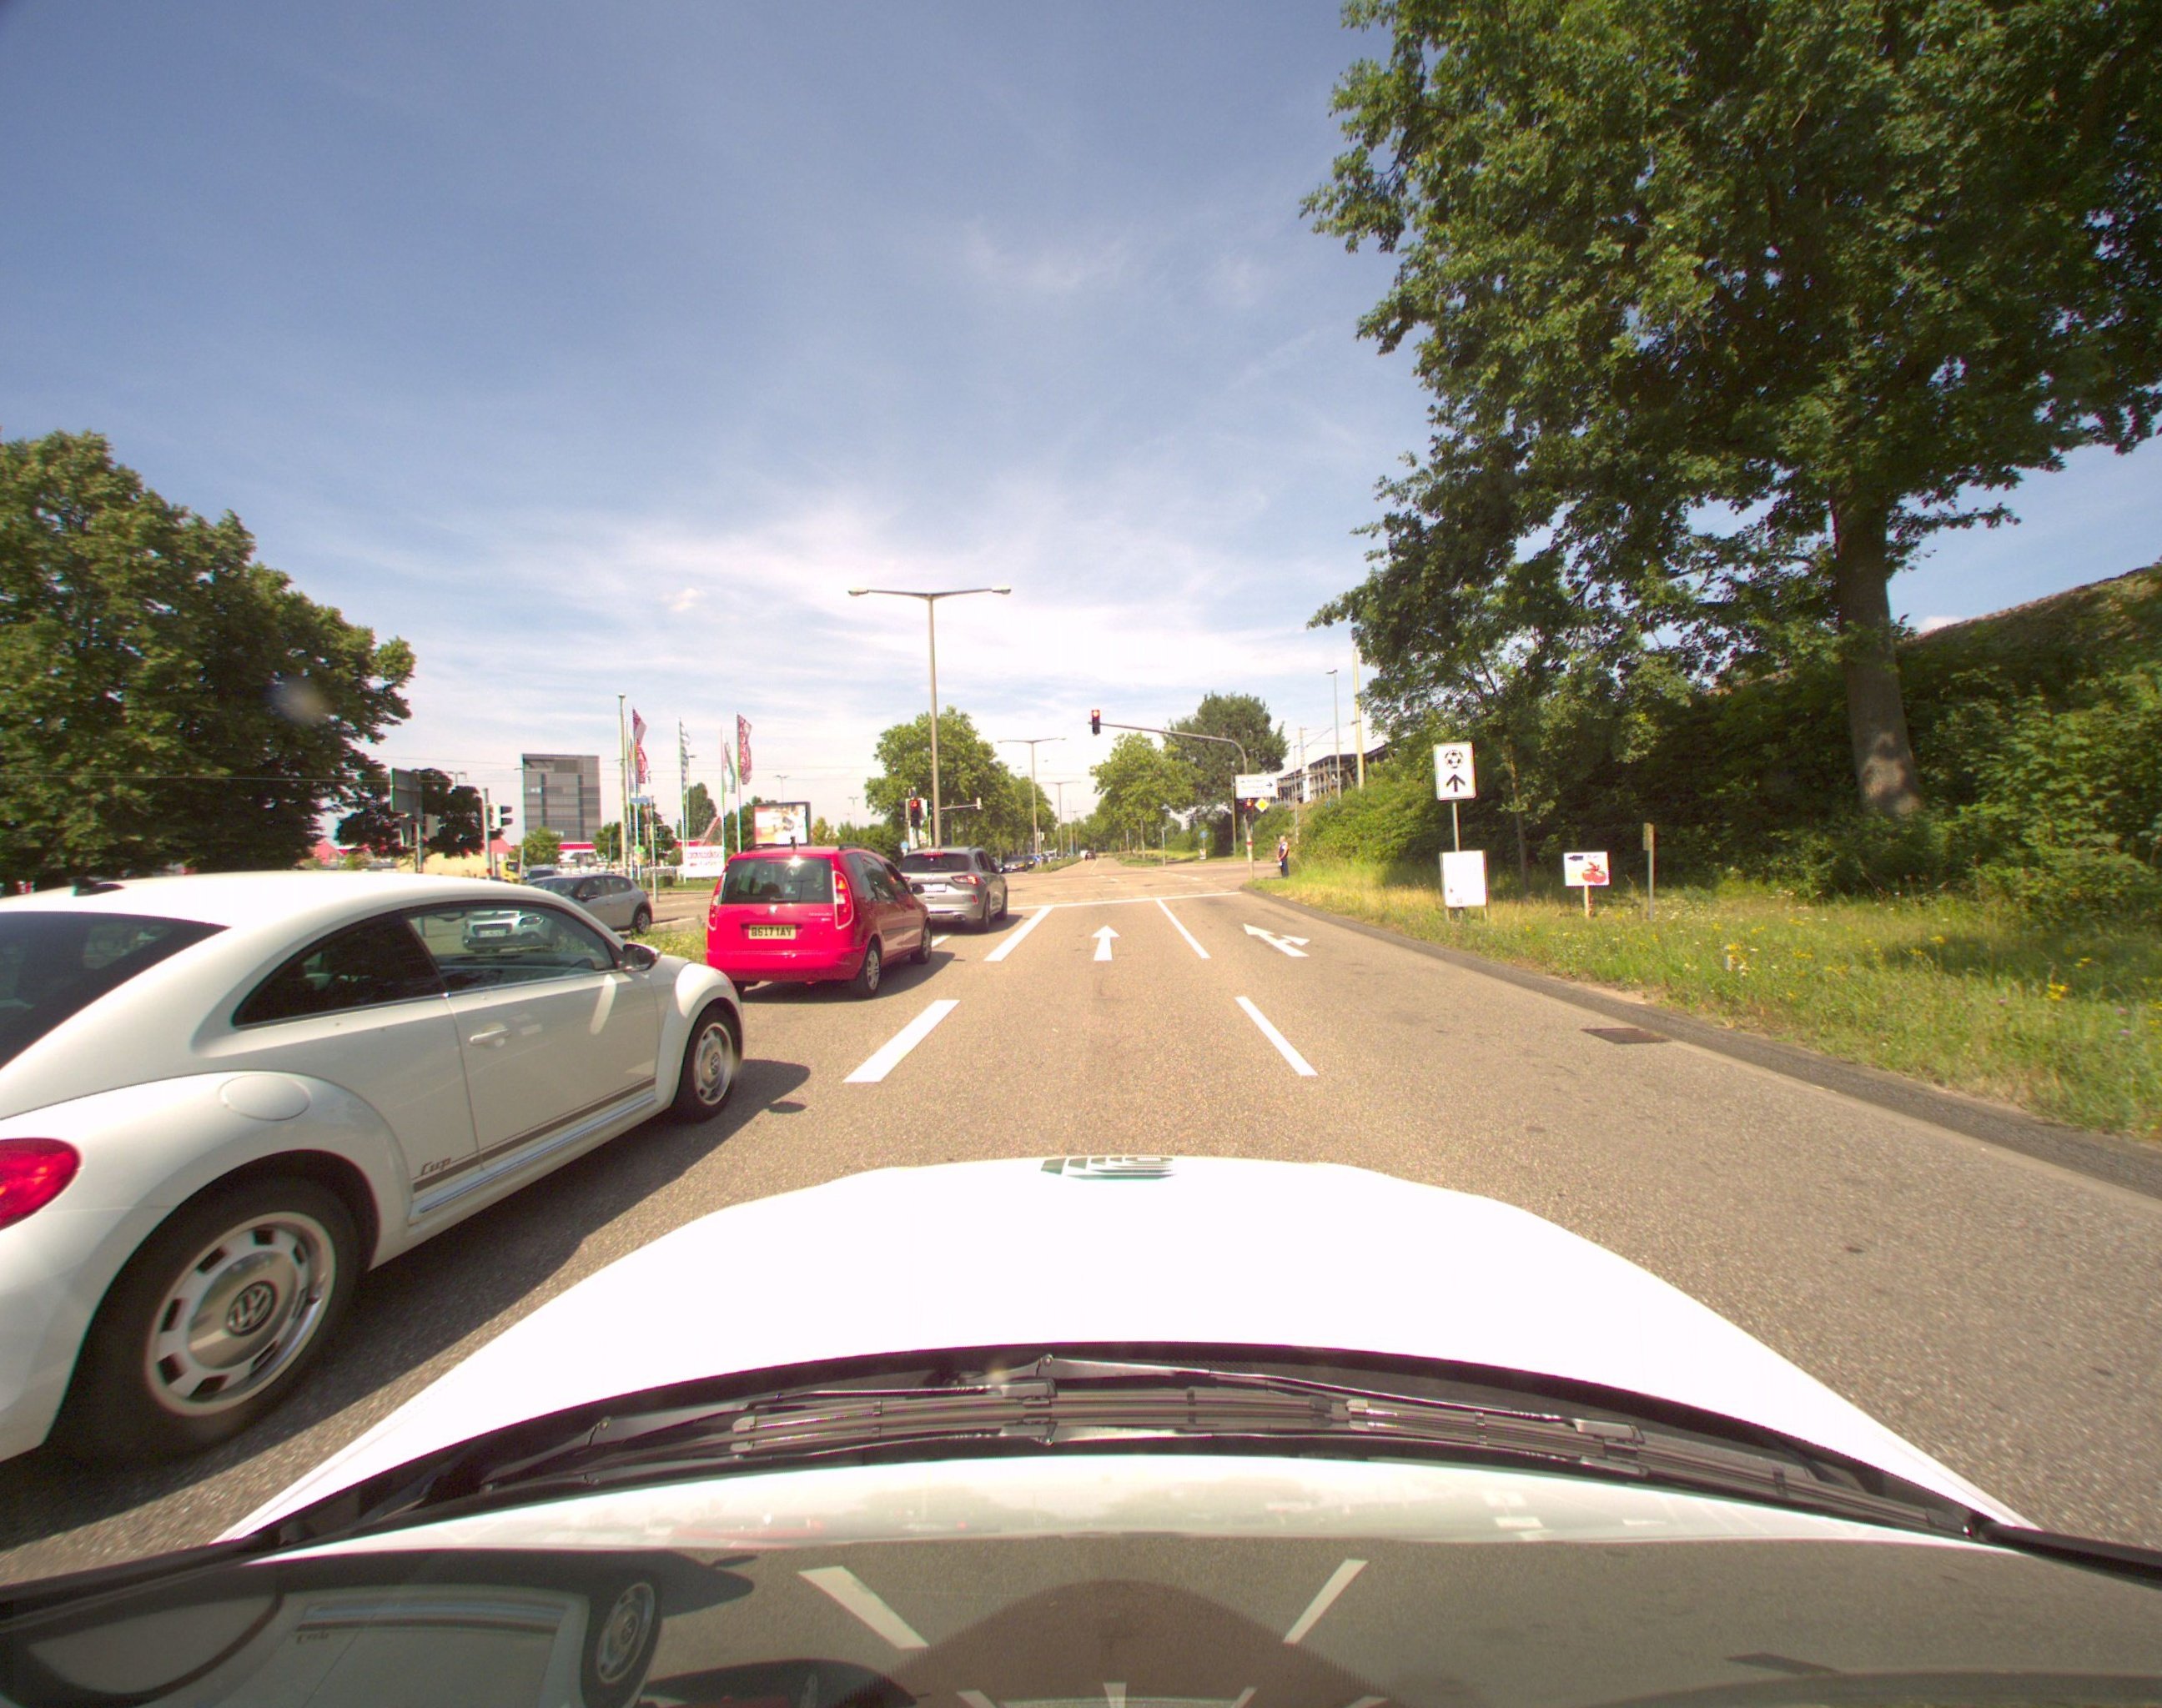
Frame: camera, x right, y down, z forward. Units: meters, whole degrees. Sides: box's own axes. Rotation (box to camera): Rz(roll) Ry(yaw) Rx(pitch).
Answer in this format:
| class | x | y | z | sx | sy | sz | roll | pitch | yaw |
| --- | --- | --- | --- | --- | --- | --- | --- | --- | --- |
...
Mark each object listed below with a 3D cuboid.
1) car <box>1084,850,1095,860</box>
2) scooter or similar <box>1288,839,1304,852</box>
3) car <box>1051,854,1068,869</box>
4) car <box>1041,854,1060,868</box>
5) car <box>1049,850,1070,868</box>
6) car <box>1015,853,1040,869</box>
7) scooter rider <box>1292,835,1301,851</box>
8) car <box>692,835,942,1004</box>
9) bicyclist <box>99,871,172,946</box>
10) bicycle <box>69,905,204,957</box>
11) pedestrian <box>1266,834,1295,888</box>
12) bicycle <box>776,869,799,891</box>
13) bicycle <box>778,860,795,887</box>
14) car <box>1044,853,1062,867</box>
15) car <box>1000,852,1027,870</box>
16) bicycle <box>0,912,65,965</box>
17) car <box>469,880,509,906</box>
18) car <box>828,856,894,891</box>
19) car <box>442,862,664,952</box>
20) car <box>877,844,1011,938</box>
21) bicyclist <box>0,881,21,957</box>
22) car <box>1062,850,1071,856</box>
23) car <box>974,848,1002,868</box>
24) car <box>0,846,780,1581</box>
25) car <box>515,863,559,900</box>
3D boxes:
| class | x | y | z | sx | sy | sz | roll | pitch | yaw |
| --- | --- | --- | --- | --- | --- | --- | --- | --- | --- |
| car | 1.476 | 0.121 | 144.302 | 1.730 | 1.535 | 4.003 | -2 | 2 | 2 |
| scooter or similar | 19.324 | -0.729 | 73.276 | 1.337 | 1.098 | 0.493 | -2 | 0 | 6 |
| car | -2.867 | 0.989 | 107.579 | 1.986 | 1.895 | 4.377 | -2 | 0 | 1 |
| car | -3.516 | 0.800 | 95.356 | 1.896 | 1.596 | 4.001 | -2 | 0 | 1 |
| car | -2.219 | 0.503 | 84.991 | 1.986 | 1.695 | 4.001 | -2 | 0 | 1 |
| car | -5.136 | 0.657 | 79.066 | 1.986 | 1.500 | 4.001 | -2 | 0 | 1 |
| scooter rider | 19.376 | -0.996 | 73.269 | 0.672 | 1.428 | 0.493 | -2 | 0 | 6 |
| car | -2.941 | 0.671 | 9.981 | 1.622 | 1.596 | 3.919 | -2 | -1 | 2 |
| bicyclist | -22.957 | 1.300 | 19.792 | 0.903 | 1.715 | 0.774 | -3 | 2 | -34 |
| bicycle | -22.900 | 1.846 | 19.815 | 1.962 | 0.983 | 0.781 | -4 | 3 | -34 |
| pedestrian | 7.417 | 0.249 | 30.241 | 0.835 | 1.932 | 0.771 | -2 | 2 | -2 |
| bicycle | -17.829 | 1.545 | 49.515 | 0.670 | 1.256 | 2.244 | -3 | 0 | -3 |
| bicycle | -17.853 | 1.175 | 49.398 | 0.670 | 1.615 | 0.991 | -3 | 0 | -3 |
| car | -3.491 | 0.759 | 101.907 | 1.986 | 1.678 | 4.001 | -2 | 0 | 1 |
| car | -5.884 | 0.603 | 71.601 | 1.911 | 1.513 | 4.001 | -2 | 0 | 1 |
| bicycle | -24.185 | 1.917 | 17.981 | 2.019 | 1.039 | 0.737 | -3 | 3 | -34 |
| car | -42.645 | 2.763 | 58.610 | 2.011 | 1.684 | 3.953 | -3 | 0 | -40 |
| car | -9.880 | 0.828 | 36.854 | 1.734 | 1.390 | 4.001 | -2 | 0 | 2 |
| car | -10.673 | 0.990 | 16.876 | 1.768 | 1.470 | 4.003 | -4 | 0 | 2 |
| car | -2.627 | 0.650 | 16.639 | 1.874 | 1.618 | 4.214 | -2 | 0 | 2 |
| bicyclist | -24.287 | 1.455 | 17.919 | 0.903 | 1.646 | 0.780 | -3 | 3 | -34 |
| car | -4.380 | -0.269 | 246.096 | 1.869 | 1.694 | 4.388 | -2 | 0 | -14 |
| car | -8.450 | 0.352 | 74.162 | 1.986 | 1.512 | 4.002 | -2 | 2 | 1 |
| car | -3.011 | 0.728 | 3.510 | 1.759 | 1.479 | 4.137 | -1 | 0 | 2 |
| car | -40.685 | 2.043 | 60.822 | 2.011 | 2.532 | 4.583 | -3 | 0 | -42 |
